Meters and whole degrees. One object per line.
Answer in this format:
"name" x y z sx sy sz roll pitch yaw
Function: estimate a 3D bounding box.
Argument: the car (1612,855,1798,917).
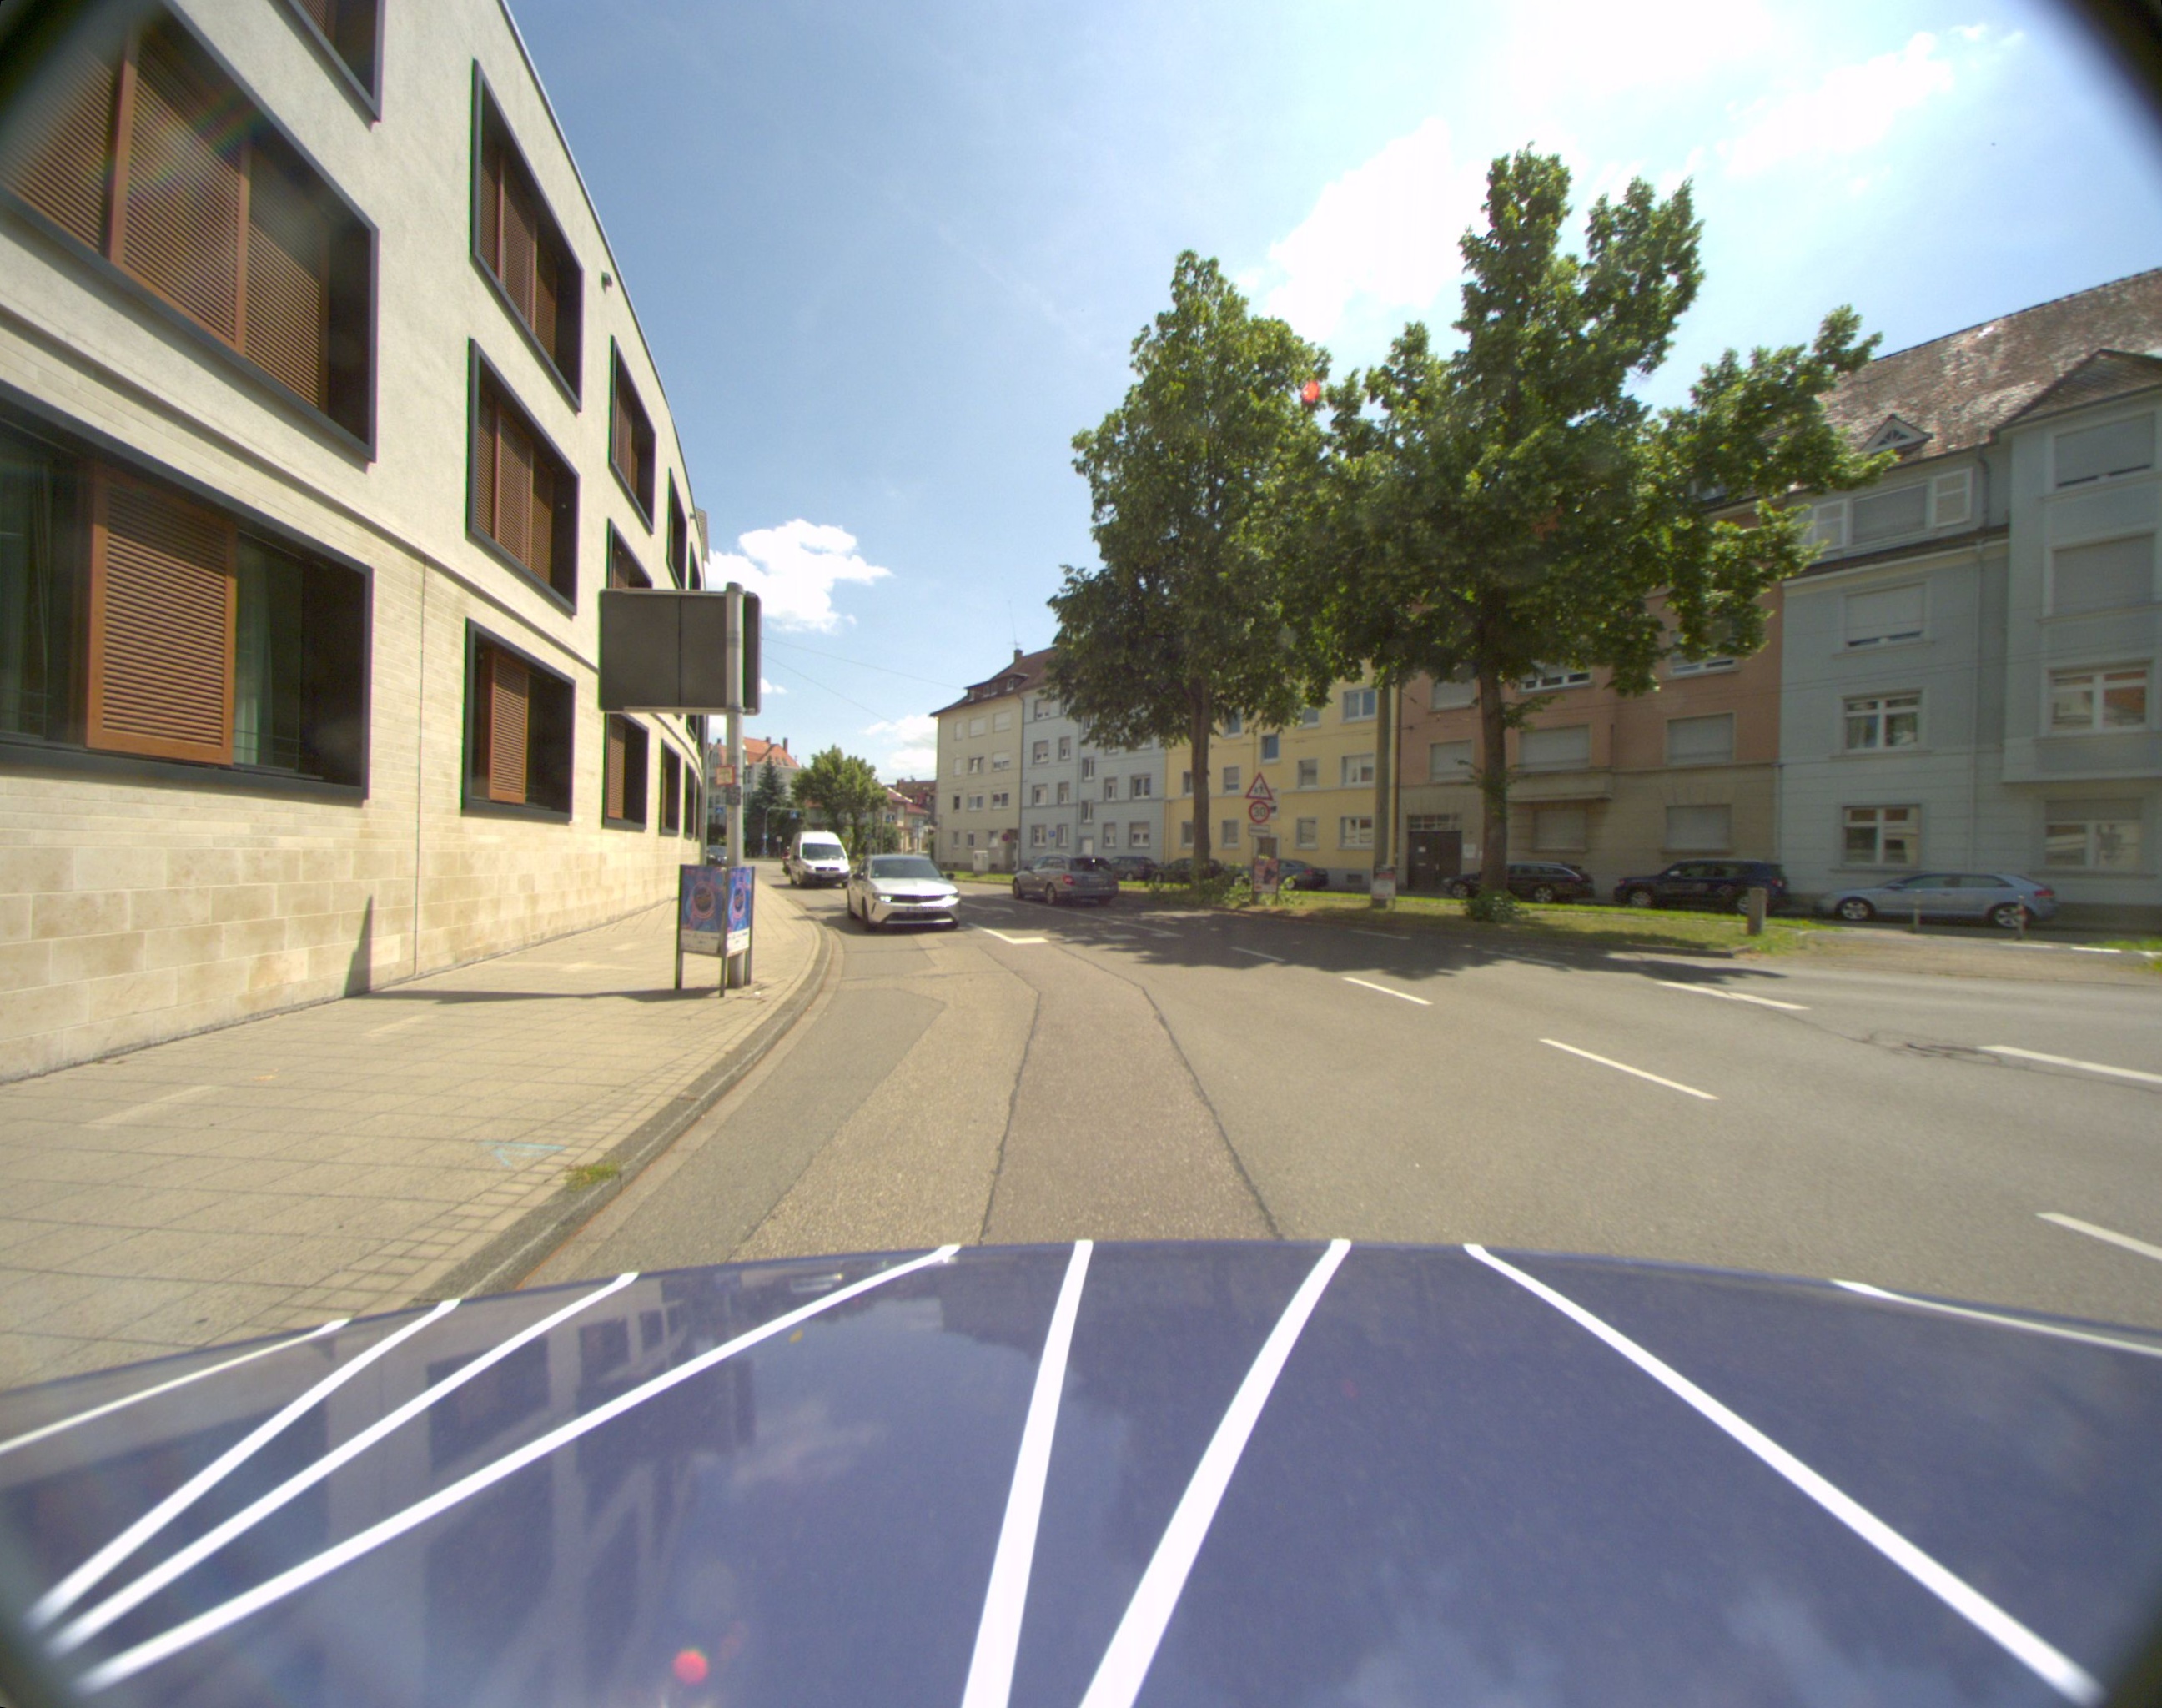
"car" 19.113 0.938 23.416 1.847 1.675 4.130 3 -1 -40

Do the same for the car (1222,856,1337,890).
"car" 9.063 0.846 35.014 1.938 1.389 4.849 3 -1 -39

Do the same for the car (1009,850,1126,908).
"car" -0.526 0.645 22.048 1.745 1.479 4.398 0 1 -25

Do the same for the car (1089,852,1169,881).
"car" 2.680 0.699 43.141 1.938 1.496 4.313 3 -1 -42

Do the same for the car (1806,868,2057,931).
"car" 22.038 1.139 19.900 1.817 1.348 4.237 3 -1 -40

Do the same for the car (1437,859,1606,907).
"car" 15.676 0.991 27.260 1.938 1.481 4.849 3 -1 -40

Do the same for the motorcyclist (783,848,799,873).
"motorcyclist" -15.428 0.324 40.385 0.735 1.329 1.169 0 1 -18

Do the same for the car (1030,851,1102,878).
"car" -0.968 0.636 46.799 1.939 1.442 4.363 5 -2 -42

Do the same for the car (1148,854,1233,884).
"car" 5.606 0.766 39.272 1.841 1.391 4.130 3 -1 -40

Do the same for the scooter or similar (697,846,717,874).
"scooter or similar" -17.542 0.265 35.616 0.584 1.253 1.363 4 -1 -35

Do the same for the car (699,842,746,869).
"car" -23.920 0.072 50.616 1.810 1.500 4.534 6 -2 -37

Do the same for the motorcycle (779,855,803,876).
"motorcycle" -15.526 0.581 40.738 1.058 1.073 2.612 0 1 -18

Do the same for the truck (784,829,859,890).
"truck" -10.553 0.149 30.607 2.024 2.236 5.394 0 1 -28

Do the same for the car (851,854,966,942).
"car" -3.661 0.769 15.604 1.804 1.458 4.163 0 1 -20
